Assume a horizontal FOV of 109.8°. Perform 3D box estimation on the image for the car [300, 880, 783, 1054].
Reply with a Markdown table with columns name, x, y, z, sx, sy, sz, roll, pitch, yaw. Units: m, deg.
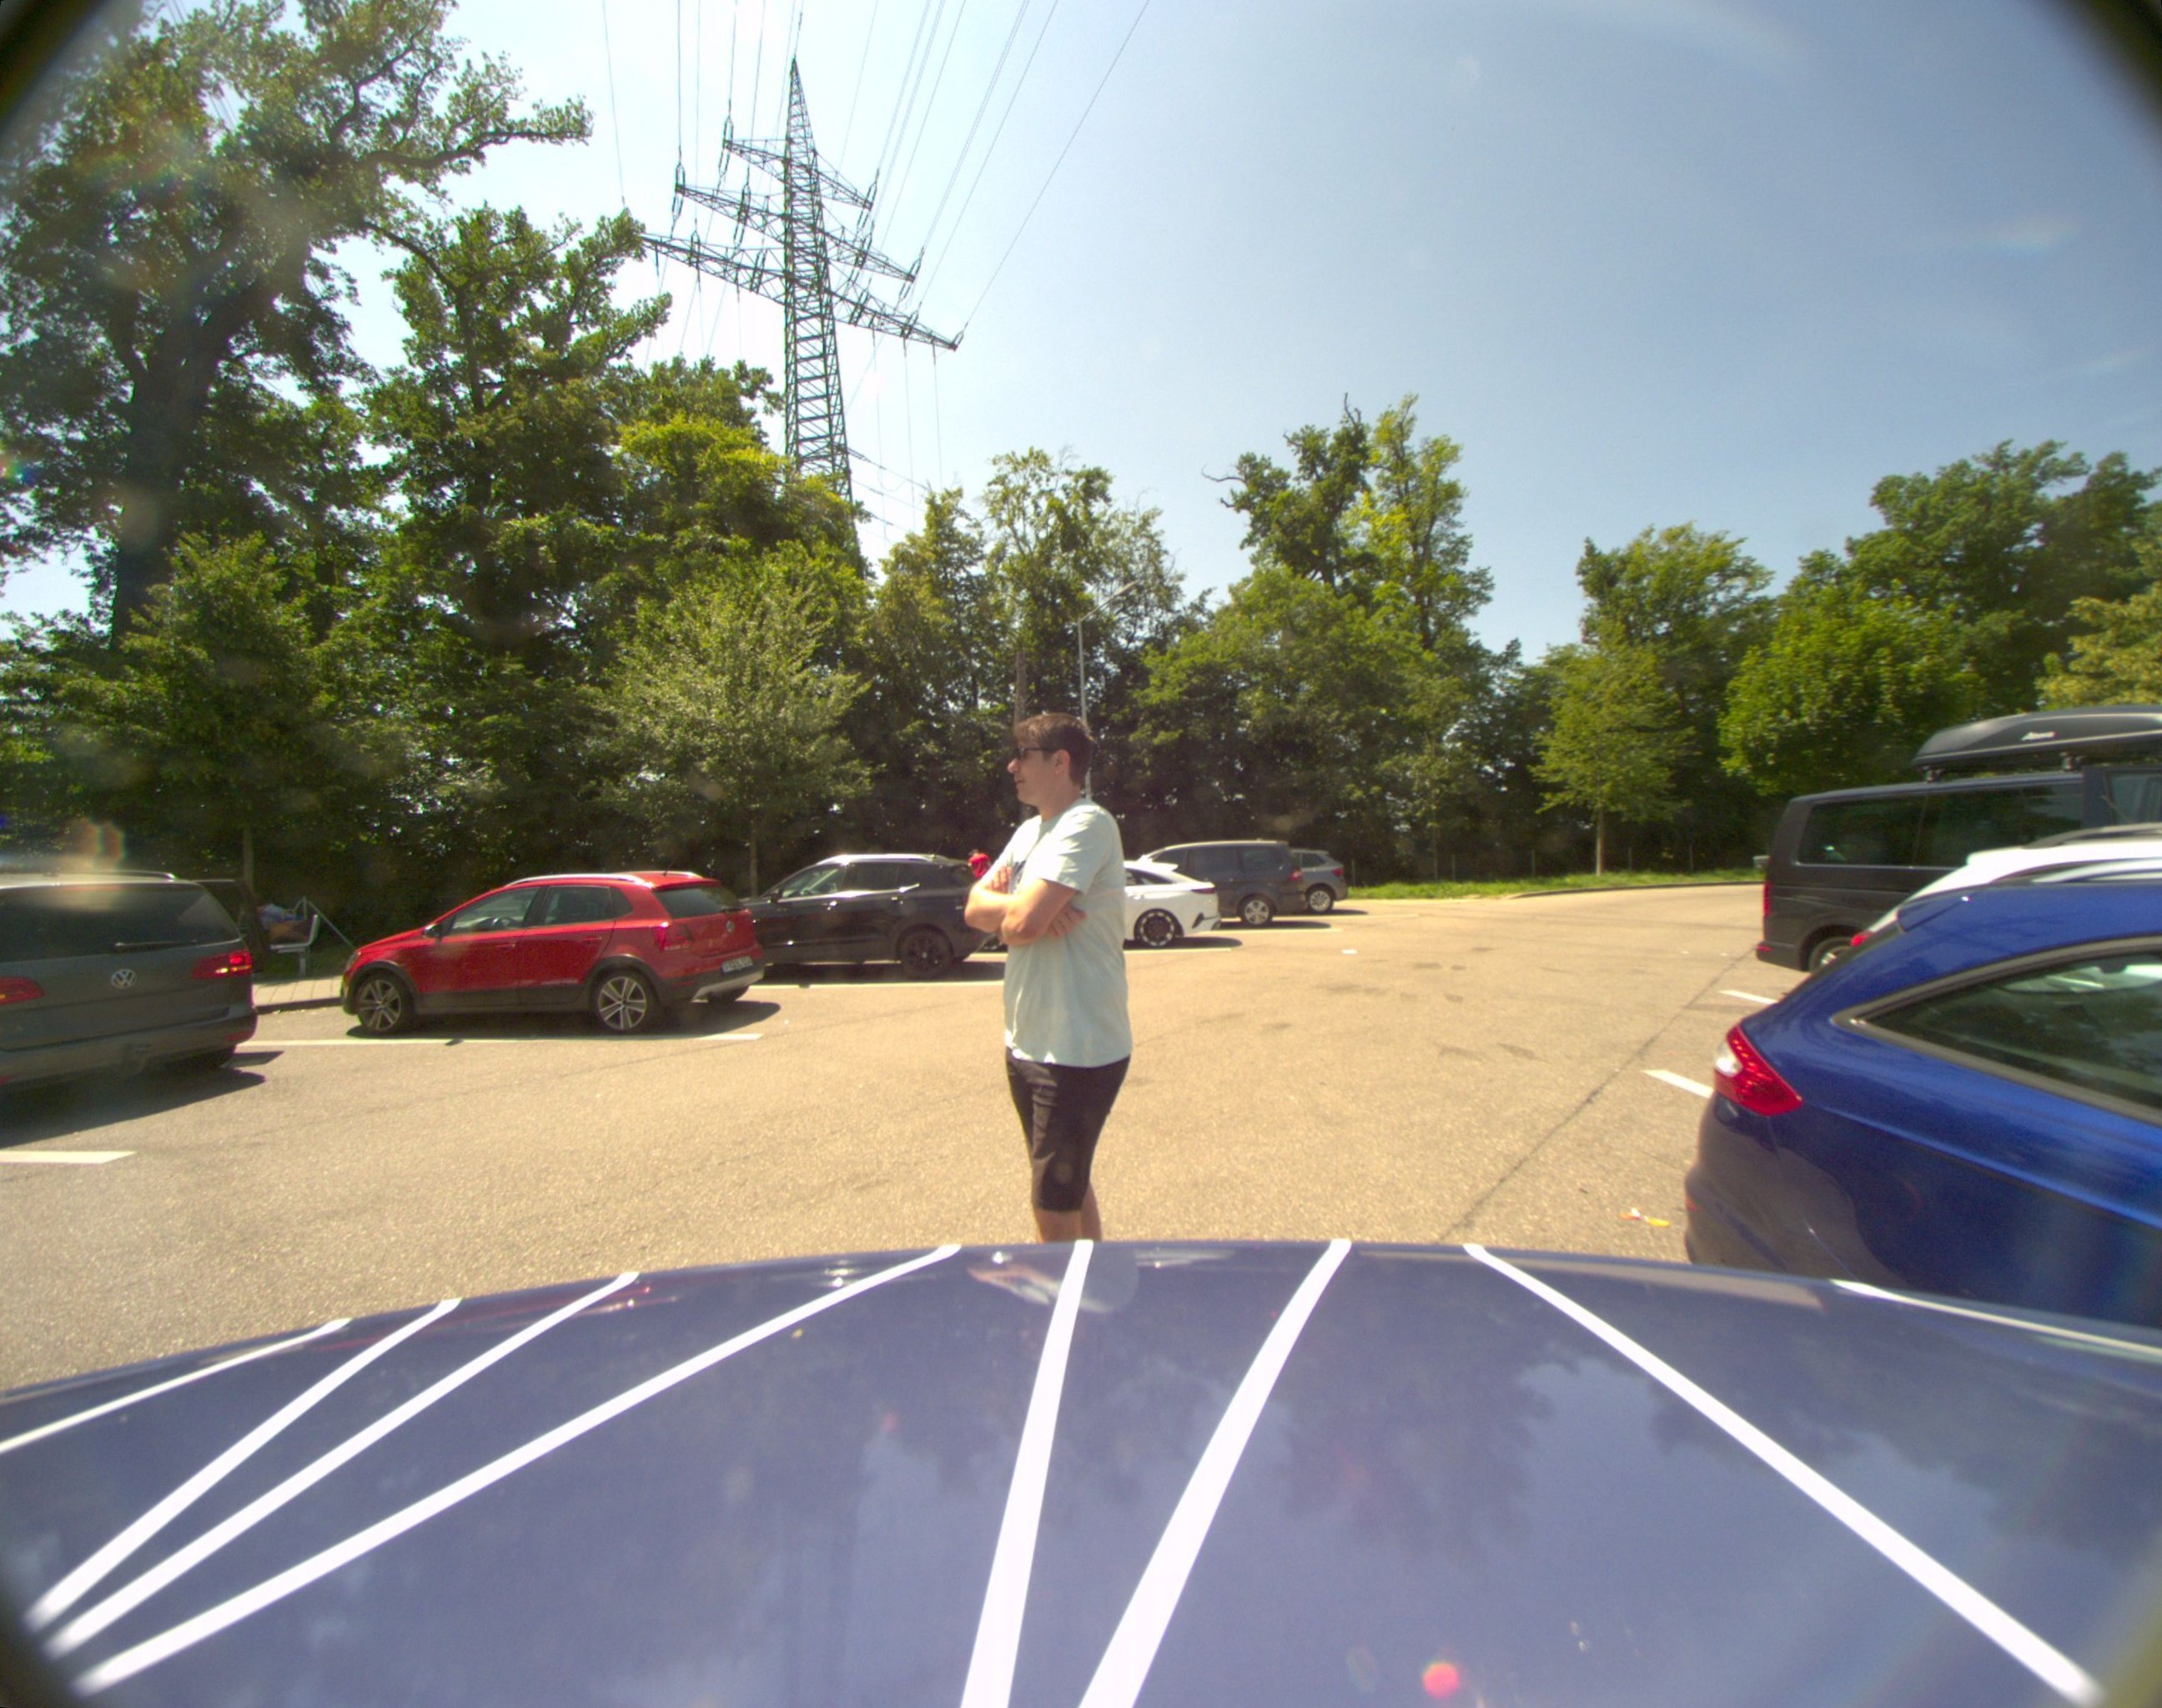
| name | x | y | z | sx | sy | sz | roll | pitch | yaw |
| --- | --- | --- | --- | --- | --- | --- | --- | --- | --- |
| car | -5.245 | 1.061 | 7.658 | 3.804 | 1.449 | 1.637 | -1 | 1 | 7 |

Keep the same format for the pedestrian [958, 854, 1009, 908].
| name | x | y | z | sx | sy | sz | roll | pitch | yaw |
| --- | --- | --- | --- | --- | --- | --- | --- | --- | --- |
| pedestrian | -2.426 | 0.665 | 18.916 | 0.890 | 1.292 | 0.865 | -2 | 0 | 23 |

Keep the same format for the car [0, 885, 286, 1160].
| name | x | y | z | sx | sy | sz | roll | pitch | yaw |
| --- | --- | --- | --- | --- | --- | --- | --- | --- | --- |
| car | -8.346 | 1.092 | 5.450 | 3.950 | 1.581 | 1.753 | -1 | 1 | 11 |

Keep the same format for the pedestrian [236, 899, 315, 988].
| name | x | y | z | sx | sy | sz | roll | pitch | yaw |
| --- | --- | --- | --- | --- | --- | --- | --- | --- | --- |
| pedestrian | -11.760 | 1.292 | 11.097 | 0.680 | 1.211 | 0.675 | -4 | -2 | 36 |

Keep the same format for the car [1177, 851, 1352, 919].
| name | x | y | z | sx | sy | sz | roll | pitch | yaw |
| --- | --- | --- | --- | --- | --- | --- | --- | --- | --- |
| car | 4.255 | 0.705 | 18.125 | 3.805 | 1.468 | 1.743 | -1 | 1 | 5 |

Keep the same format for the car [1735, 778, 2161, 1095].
| name | x | y | z | sx | sy | sz | roll | pitch | yaw |
| --- | --- | --- | --- | --- | --- | --- | --- | --- | --- |
| car | 7.305 | 0.454 | 5.034 | 2.048 | 1.850 | 4.430 | -2 | -1 | -1 |

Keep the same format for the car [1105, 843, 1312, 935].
| name | x | y | z | sx | sy | sz | roll | pitch | yaw |
| --- | --- | --- | --- | --- | --- | --- | --- | --- | --- |
| car | 2.508 | 0.677 | 15.501 | 3.882 | 1.680 | 1.882 | -1 | 0 | 5 |

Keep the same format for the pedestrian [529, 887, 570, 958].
| name | x | y | z | sx | sy | sz | roll | pitch | yaw |
| --- | --- | --- | --- | --- | --- | --- | --- | --- | --- |
| pedestrian | -10.170 | 1.294 | 14.545 | 0.490 | 1.291 | 0.506 | -2 | 0 | 41 |

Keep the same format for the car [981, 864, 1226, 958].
| name | x | y | z | sx | sy | sz | roll | pitch | yaw |
| --- | --- | --- | --- | --- | --- | --- | --- | --- | --- |
| car | 0.406 | 0.904 | 12.751 | 3.805 | 1.359 | 1.803 | -1 | 1 | 5 |

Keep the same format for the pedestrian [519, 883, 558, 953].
| name | x | y | z | sx | sy | sz | roll | pitch | yaw |
| --- | --- | --- | --- | --- | --- | --- | --- | --- | --- |
| pedestrian | -10.955 | 1.277 | 15.351 | 0.490 | 1.367 | 0.506 | -2 | 0 | 41 |

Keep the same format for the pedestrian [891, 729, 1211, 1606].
| name | x | y | z | sx | sy | sz | roll | pitch | yaw |
| --- | --- | --- | --- | --- | --- | --- | --- | --- | --- |
| pedestrian | -0.136 | 0.661 | 2.057 | 0.634 | 1.857 | 0.747 | -2 | 0 | -17 |

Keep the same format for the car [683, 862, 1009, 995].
| name | x | y | z | sx | sy | sz | roll | pitch | yaw |
| --- | --- | --- | --- | --- | --- | --- | --- | --- | --- |
| car | -3.009 | 0.935 | 10.301 | 3.806 | 1.538 | 1.759 | -1 | 1 | 2 |

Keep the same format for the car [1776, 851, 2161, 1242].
| name | x | y | z | sx | sy | sz | roll | pitch | yaw |
| --- | --- | --- | --- | --- | --- | --- | --- | --- | --- |
| car | 4.777 | 0.699 | 2.437 | 1.607 | 1.405 | 3.743 | -2 | -1 | -1 |
